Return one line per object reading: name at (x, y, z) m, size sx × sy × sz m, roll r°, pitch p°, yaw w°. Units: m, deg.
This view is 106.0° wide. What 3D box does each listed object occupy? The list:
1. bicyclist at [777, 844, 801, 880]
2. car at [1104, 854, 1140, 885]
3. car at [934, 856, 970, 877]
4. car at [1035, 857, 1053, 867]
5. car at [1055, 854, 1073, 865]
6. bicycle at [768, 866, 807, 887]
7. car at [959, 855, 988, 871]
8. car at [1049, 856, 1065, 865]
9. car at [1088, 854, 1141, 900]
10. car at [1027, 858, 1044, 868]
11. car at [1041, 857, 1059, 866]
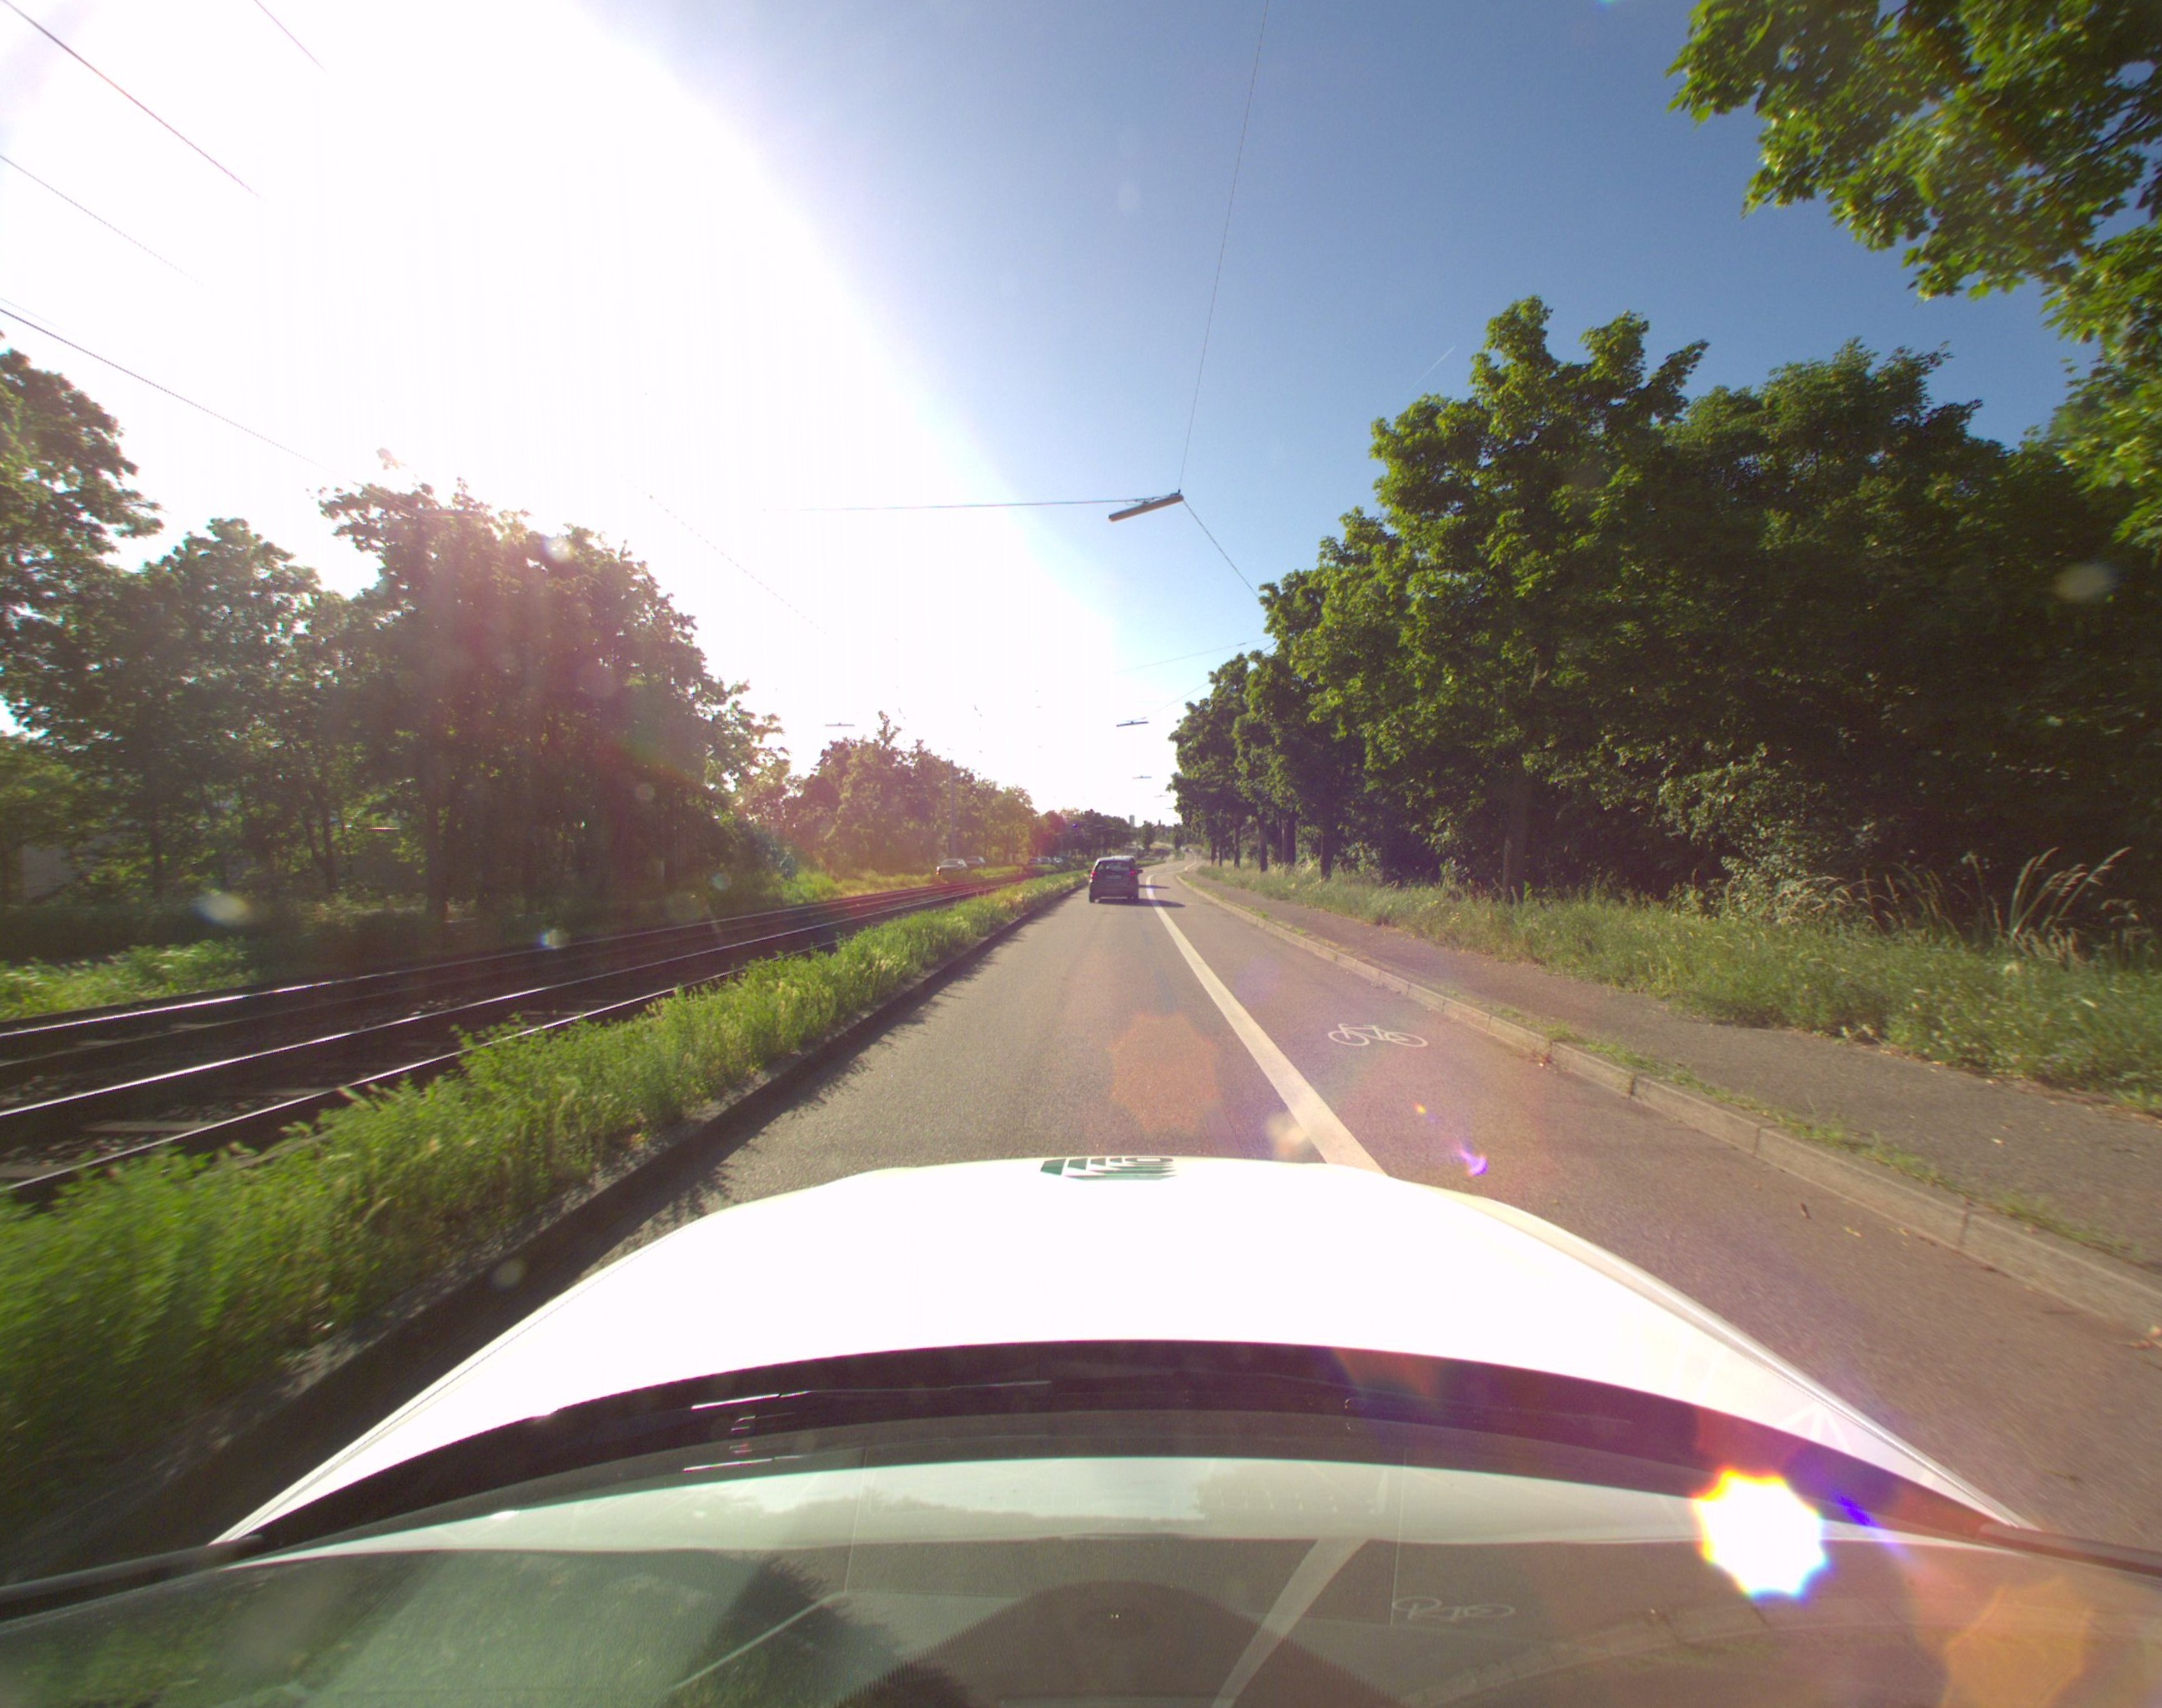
bicyclist at (-14.206, 0.372, 39.656) m, size 0.815 × 1.736 × 0.903 m, roll 0°, pitch 0°, yaw 4°
car at (2.248, 0.811, 43.922) m, size 1.842 × 1.606 × 4.259 m, roll 0°, pitch 0°, yaw 4°
car at (-9.582, 0.891, 60.609) m, size 1.702 × 1.479 × 4.006 m, roll 0°, pitch 0°, yaw 5°
car at (-5.746, 1.221, 127.724) m, size 1.983 × 1.574 × 4.444 m, roll 0°, pitch 0°, yaw 7°
car at (-2.989, 0.929, 145.885) m, size 2.183 × 1.891 × 4.806 m, roll 0°, pitch 0°, yaw 11°
bicycle at (-14.217, 1.080, 39.493) m, size 0.814 × 0.914 × 2.540 m, roll 0°, pitch 0°, yaw 4°
car at (-11.463, 0.977, 87.337) m, size 1.993 × 1.702 × 4.476 m, roll 0°, pitch 0°, yaw 8°
car at (-4.074, 1.072, 139.588) m, size 1.917 × 1.437 × 4.707 m, roll 0°, pitch 0°, yaw 9°
car at (1.153, 0.744, 28.695) m, size 1.700 × 1.509 × 4.001 m, roll 0°, pitch 0°, yaw 1°
car at (-6.765, 1.326, 121.126) m, size 1.726 × 1.494 × 4.336 m, roll 1°, pitch 0°, yaw 7°
car at (-5.044, 1.275, 133.604) m, size 1.982 × 1.437 × 4.426 m, roll 0°, pitch 0°, yaw 9°
